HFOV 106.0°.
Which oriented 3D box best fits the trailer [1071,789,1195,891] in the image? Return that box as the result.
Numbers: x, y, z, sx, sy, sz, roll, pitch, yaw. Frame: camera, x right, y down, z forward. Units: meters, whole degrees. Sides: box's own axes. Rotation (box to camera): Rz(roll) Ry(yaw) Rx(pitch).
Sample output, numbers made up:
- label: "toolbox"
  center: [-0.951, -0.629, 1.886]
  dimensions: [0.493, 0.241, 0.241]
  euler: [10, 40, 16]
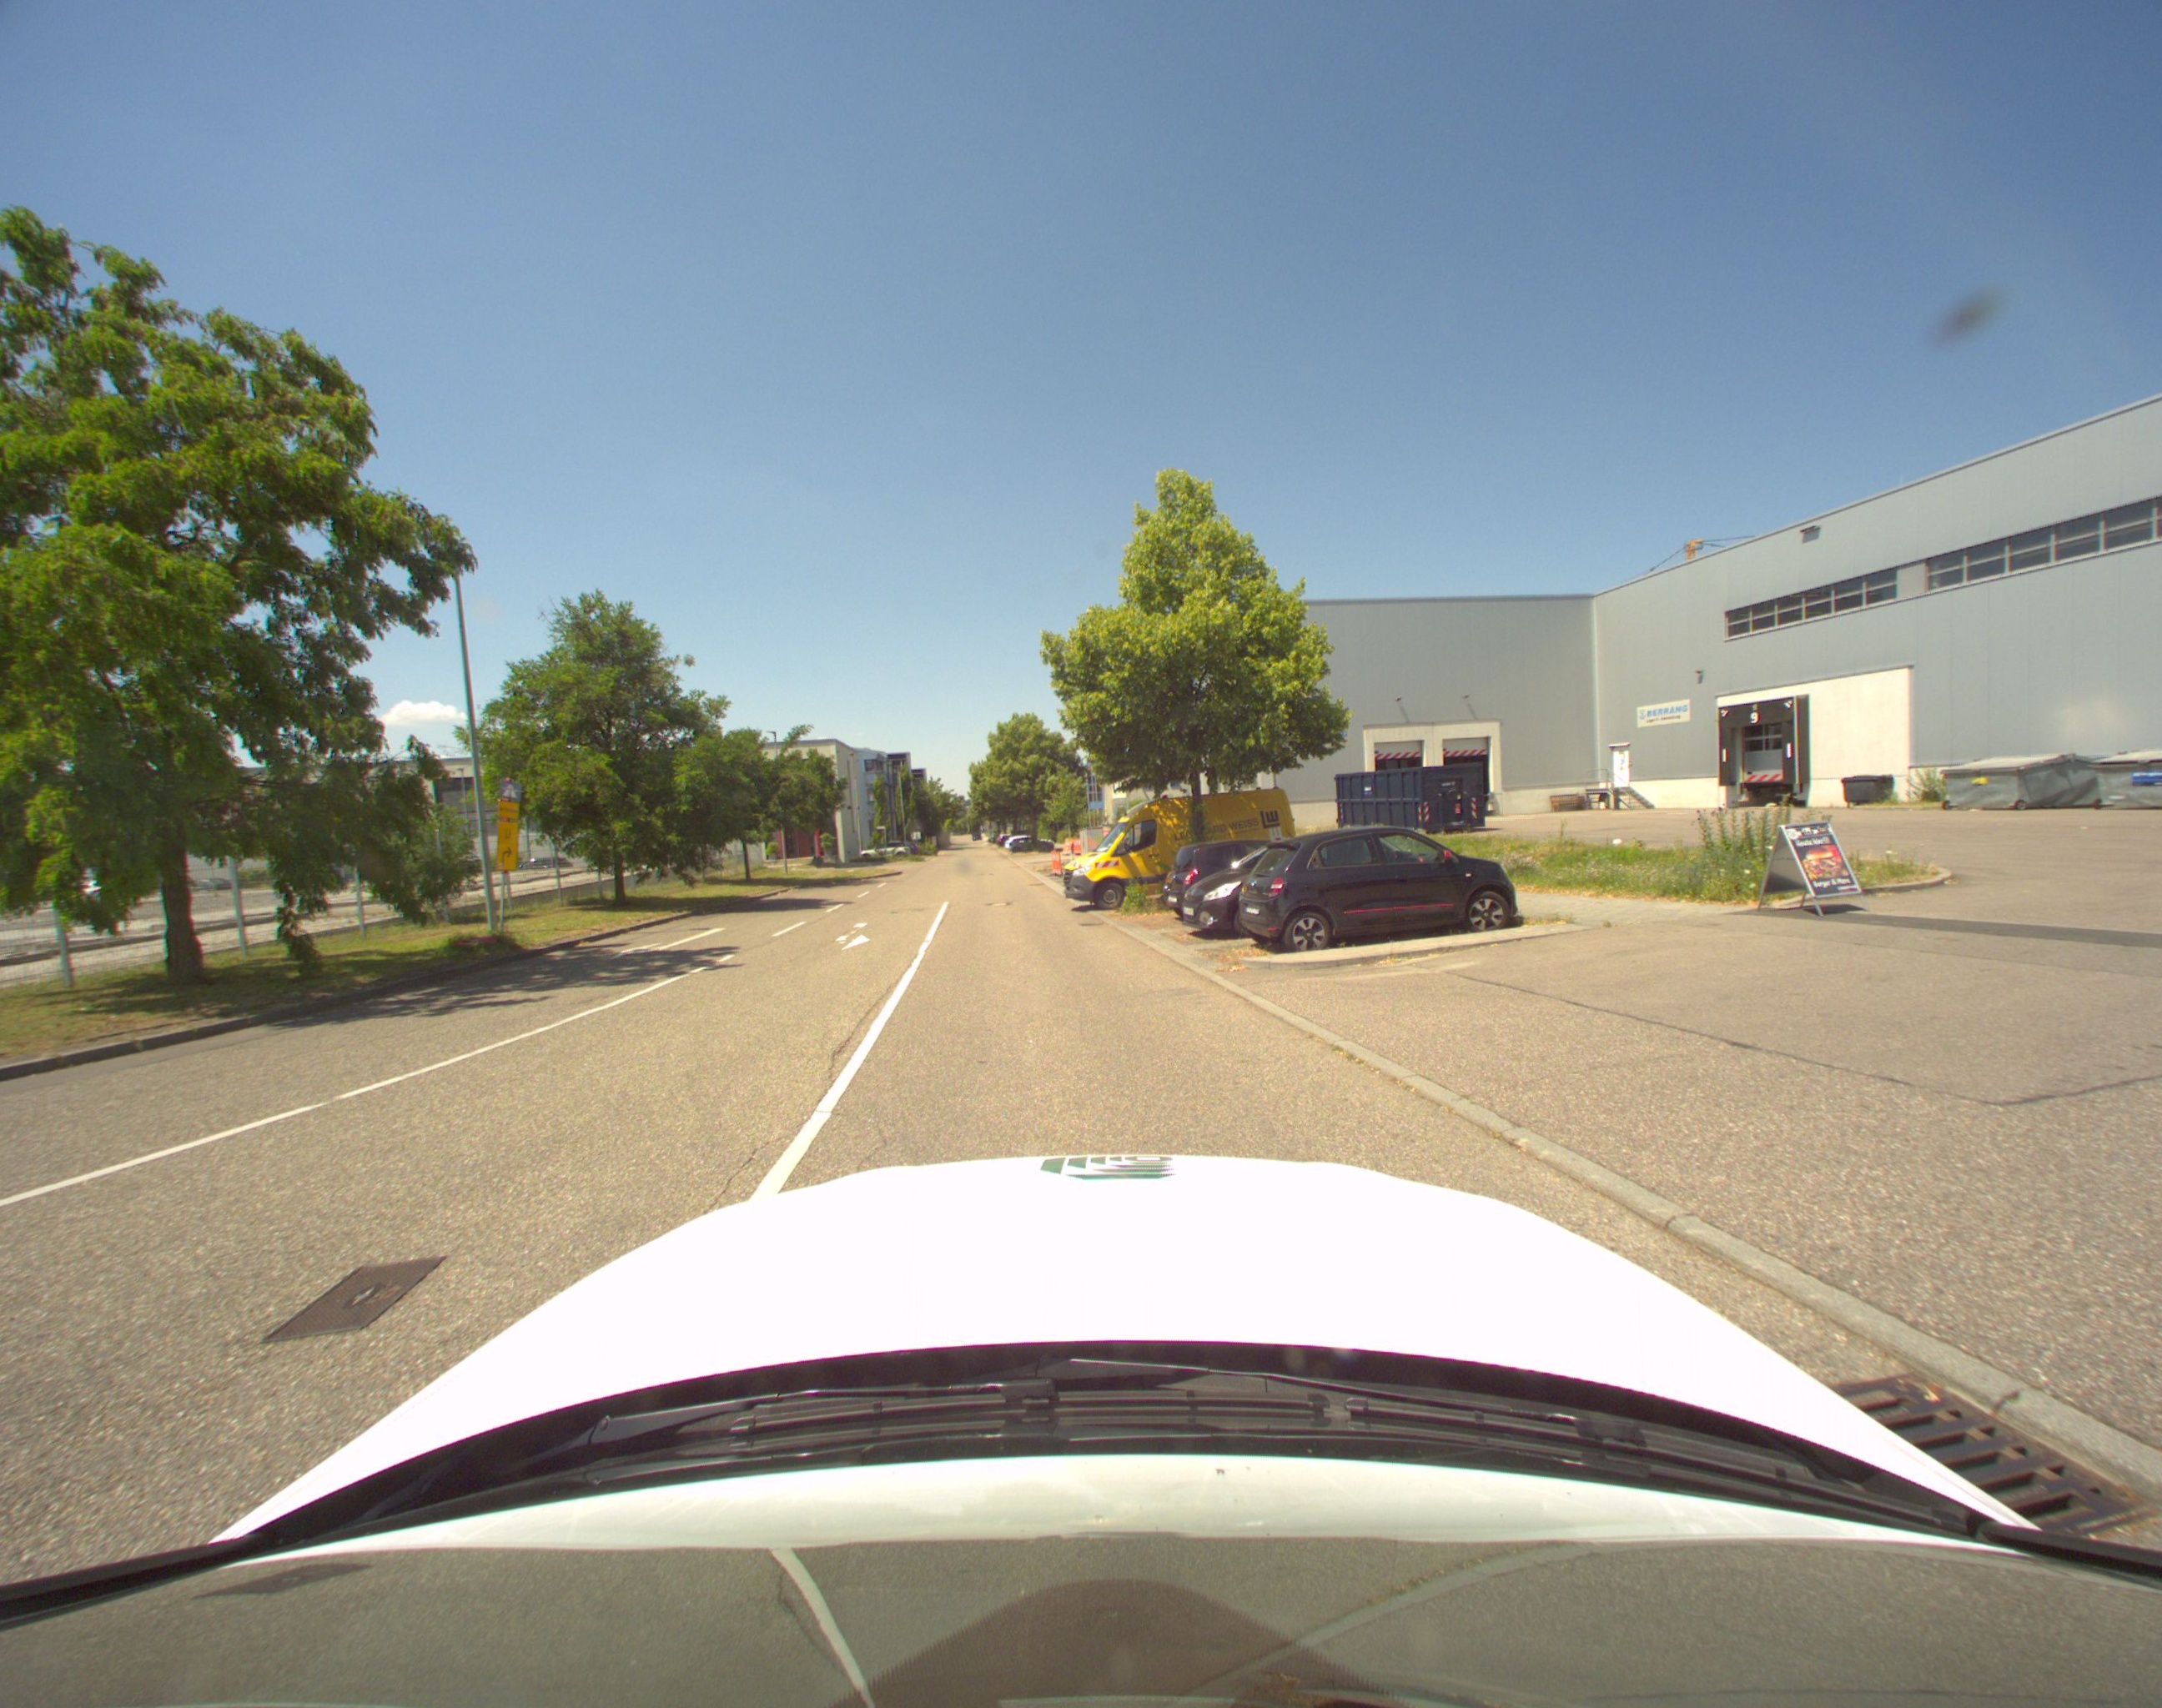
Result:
- label: "trailer"
  center: [1.599, -0.494, 28.016]
  dimensions: [2.658, 2.856, 5.499]
  euler: [-7, 2, -11]

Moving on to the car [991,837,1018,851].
- label: "car"
  center: [-12.330, -1.601, 131.362]
  dimensions: [3.939, 1.834, 1.758]
  euler: [-5, 5, -15]

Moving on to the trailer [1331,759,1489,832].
- label: "trailer"
  center: [12.753, -2.372, 32.391]
  dimensions: [2.655, 2.419, 7.403]
  euler: [-4, 5, -5]

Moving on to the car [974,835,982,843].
- label: "car"
  center: [-22.981, -3.385, 181.526]
  dimensions: [1.759, 1.755, 3.936]
  euler: [-4, 2, -7]

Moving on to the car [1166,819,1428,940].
- label: "car"
  center: [3.489, 0.364, 13.416]
  dimensions: [3.771, 1.507, 1.585]
  euler: [-6, 2, -10]

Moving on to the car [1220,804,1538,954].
- label: "car"
  center: [3.973, 0.281, 11.136]
  dimensions: [3.658, 1.462, 1.623]
  euler: [-7, 2, -8]

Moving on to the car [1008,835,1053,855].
- label: "car"
  center: [-4.498, -0.817, 72.340]
  dimensions: [3.683, 1.354, 1.638]
  euler: [-8, 2, -12]

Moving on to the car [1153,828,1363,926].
- label: "car"
  center: [3.418, 0.394, 15.983]
  dimensions: [3.602, 1.478, 1.623]
  euler: [-5, 2, -10]

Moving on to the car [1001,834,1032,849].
- label: "car"
  center: [-8.305, -1.549, 104.412]
  dimensions: [3.720, 1.626, 1.809]
  euler: [-4, 2, -8]

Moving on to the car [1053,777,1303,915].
- label: "car"
  center: [2.407, -0.266, 20.706]
  dimensions: [5.780, 2.731, 1.994]
  euler: [-6, 3, -10]

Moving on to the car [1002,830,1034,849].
- label: "car"
  center: [-7.773, -1.790, 100.828]
  dimensions: [3.720, 2.110, 1.809]
  euler: [-4, 1, -8]

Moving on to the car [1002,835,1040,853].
- label: "car"
  center: [-6.088, -1.051, 81.994]
  dimensions: [3.520, 1.354, 1.532]
  euler: [-8, 2, -12]

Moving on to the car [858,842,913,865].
- label: "car"
  center: [-15.687, -0.038, 65.511]
  dimensions: [4.047, 1.494, 1.723]
  euler: [-5, 2, -10]

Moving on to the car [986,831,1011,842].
- label: "car"
  center: [-14.514, -3.113, 143.120]
  dimensions: [3.939, 1.577, 1.758]
  euler: [-5, 5, -15]

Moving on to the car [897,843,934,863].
- label: "car"
  center: [-14.318, -0.068, 70.440]
  dimensions: [3.063, 1.478, 1.286]
  euler: [-4, 1, -15]
